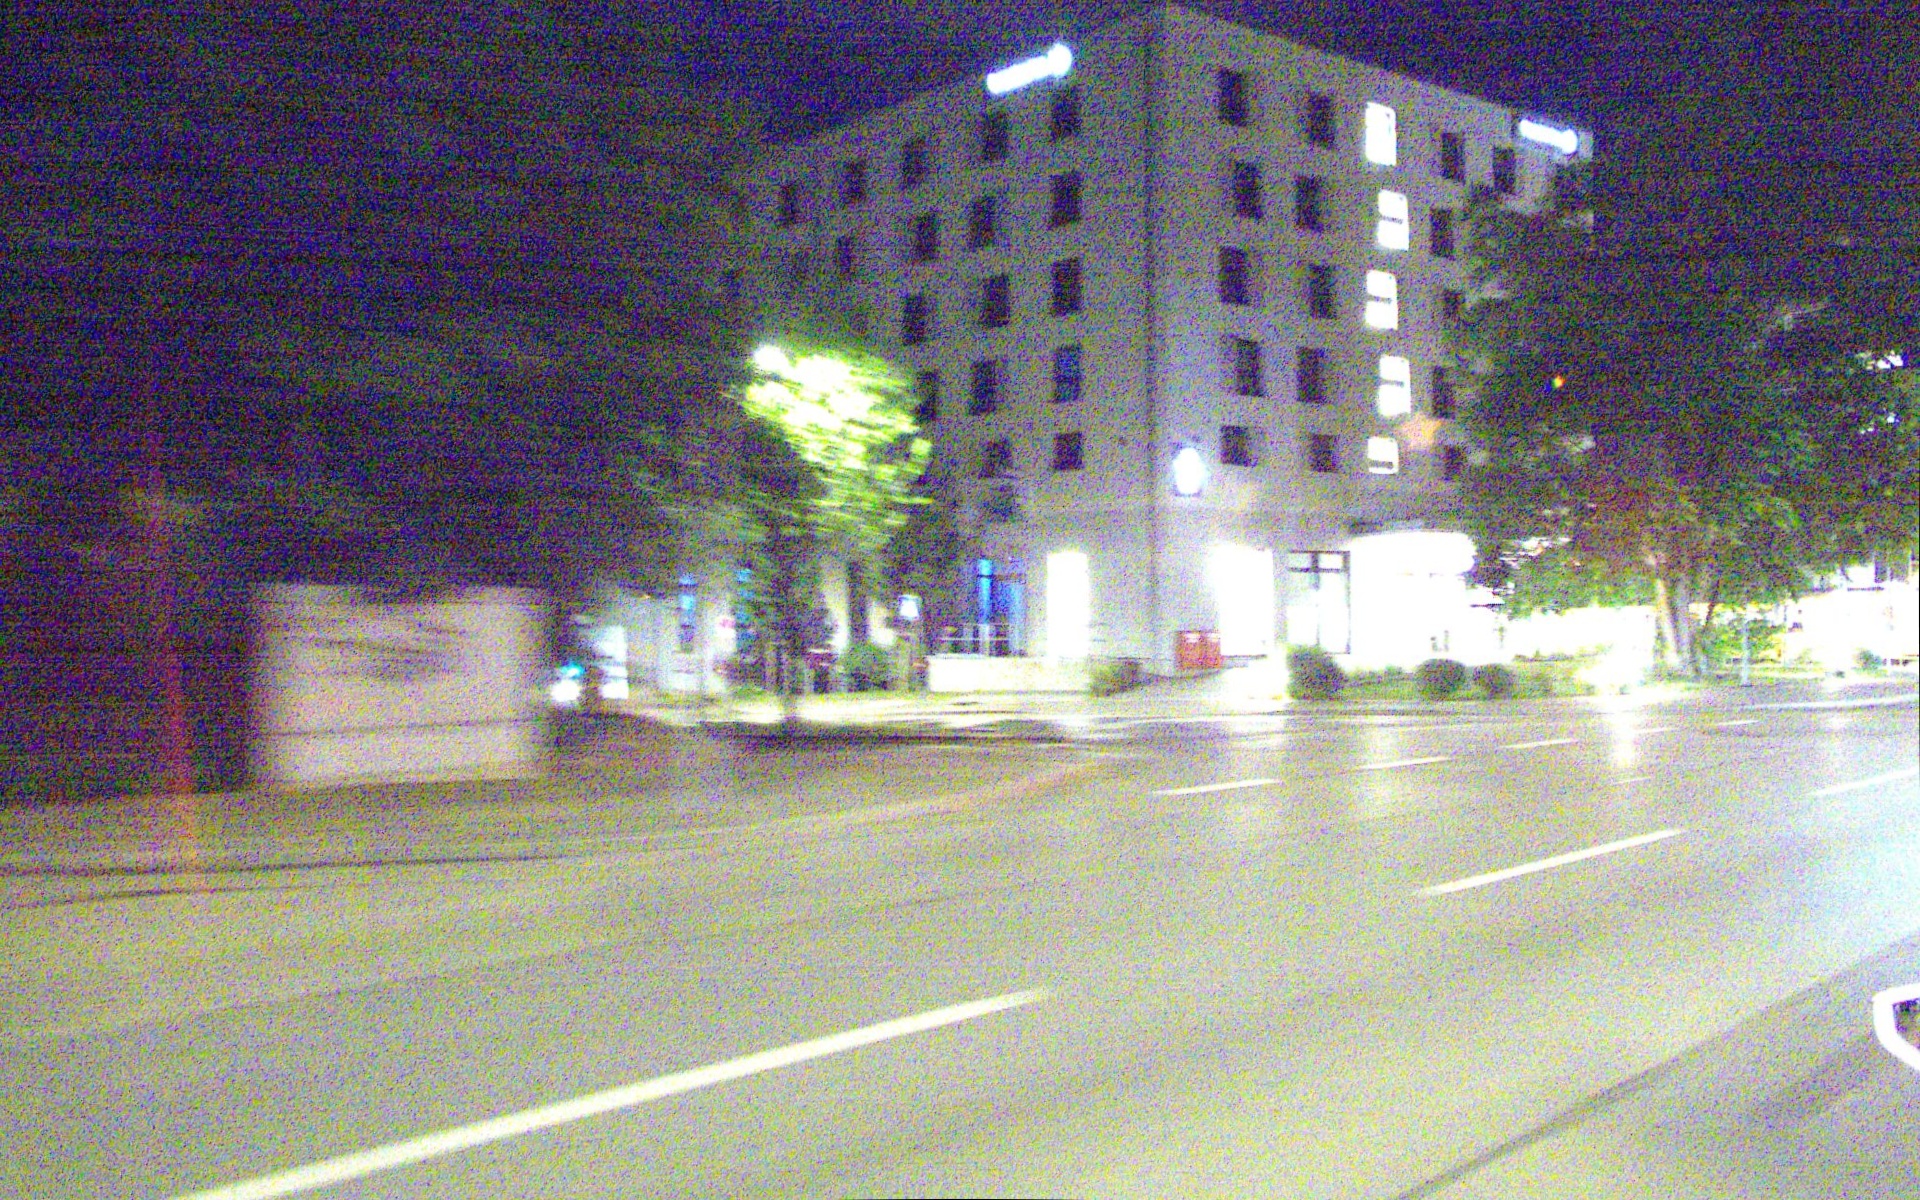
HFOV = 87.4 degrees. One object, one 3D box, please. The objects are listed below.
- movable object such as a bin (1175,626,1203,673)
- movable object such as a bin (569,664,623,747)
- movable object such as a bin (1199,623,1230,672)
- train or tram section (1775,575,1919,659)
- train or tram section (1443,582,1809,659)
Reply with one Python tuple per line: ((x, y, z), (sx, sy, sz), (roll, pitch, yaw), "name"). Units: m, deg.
((7.071, 1.527, 31.021), (0.724, 1.388, 0.354), (-3, -1, -31), "movable object such as a bin")
((-6.038, 1.744, 16.680), (0.608, 1.324, 0.569), (-3, -4, 20), "movable object such as a bin")
((7.938, 1.479, 31.327), (0.798, 1.471, 0.438), (-1, -2, -29), "movable object such as a bin")
((47.330, 0.626, 43.579), (2.884, 3.873, 19.118), (0, -3, -26), "train or tram section")
((38.947, 1.522, 61.010), (2.901, 3.912, 19.735), (0, -3, -26), "train or tram section")
